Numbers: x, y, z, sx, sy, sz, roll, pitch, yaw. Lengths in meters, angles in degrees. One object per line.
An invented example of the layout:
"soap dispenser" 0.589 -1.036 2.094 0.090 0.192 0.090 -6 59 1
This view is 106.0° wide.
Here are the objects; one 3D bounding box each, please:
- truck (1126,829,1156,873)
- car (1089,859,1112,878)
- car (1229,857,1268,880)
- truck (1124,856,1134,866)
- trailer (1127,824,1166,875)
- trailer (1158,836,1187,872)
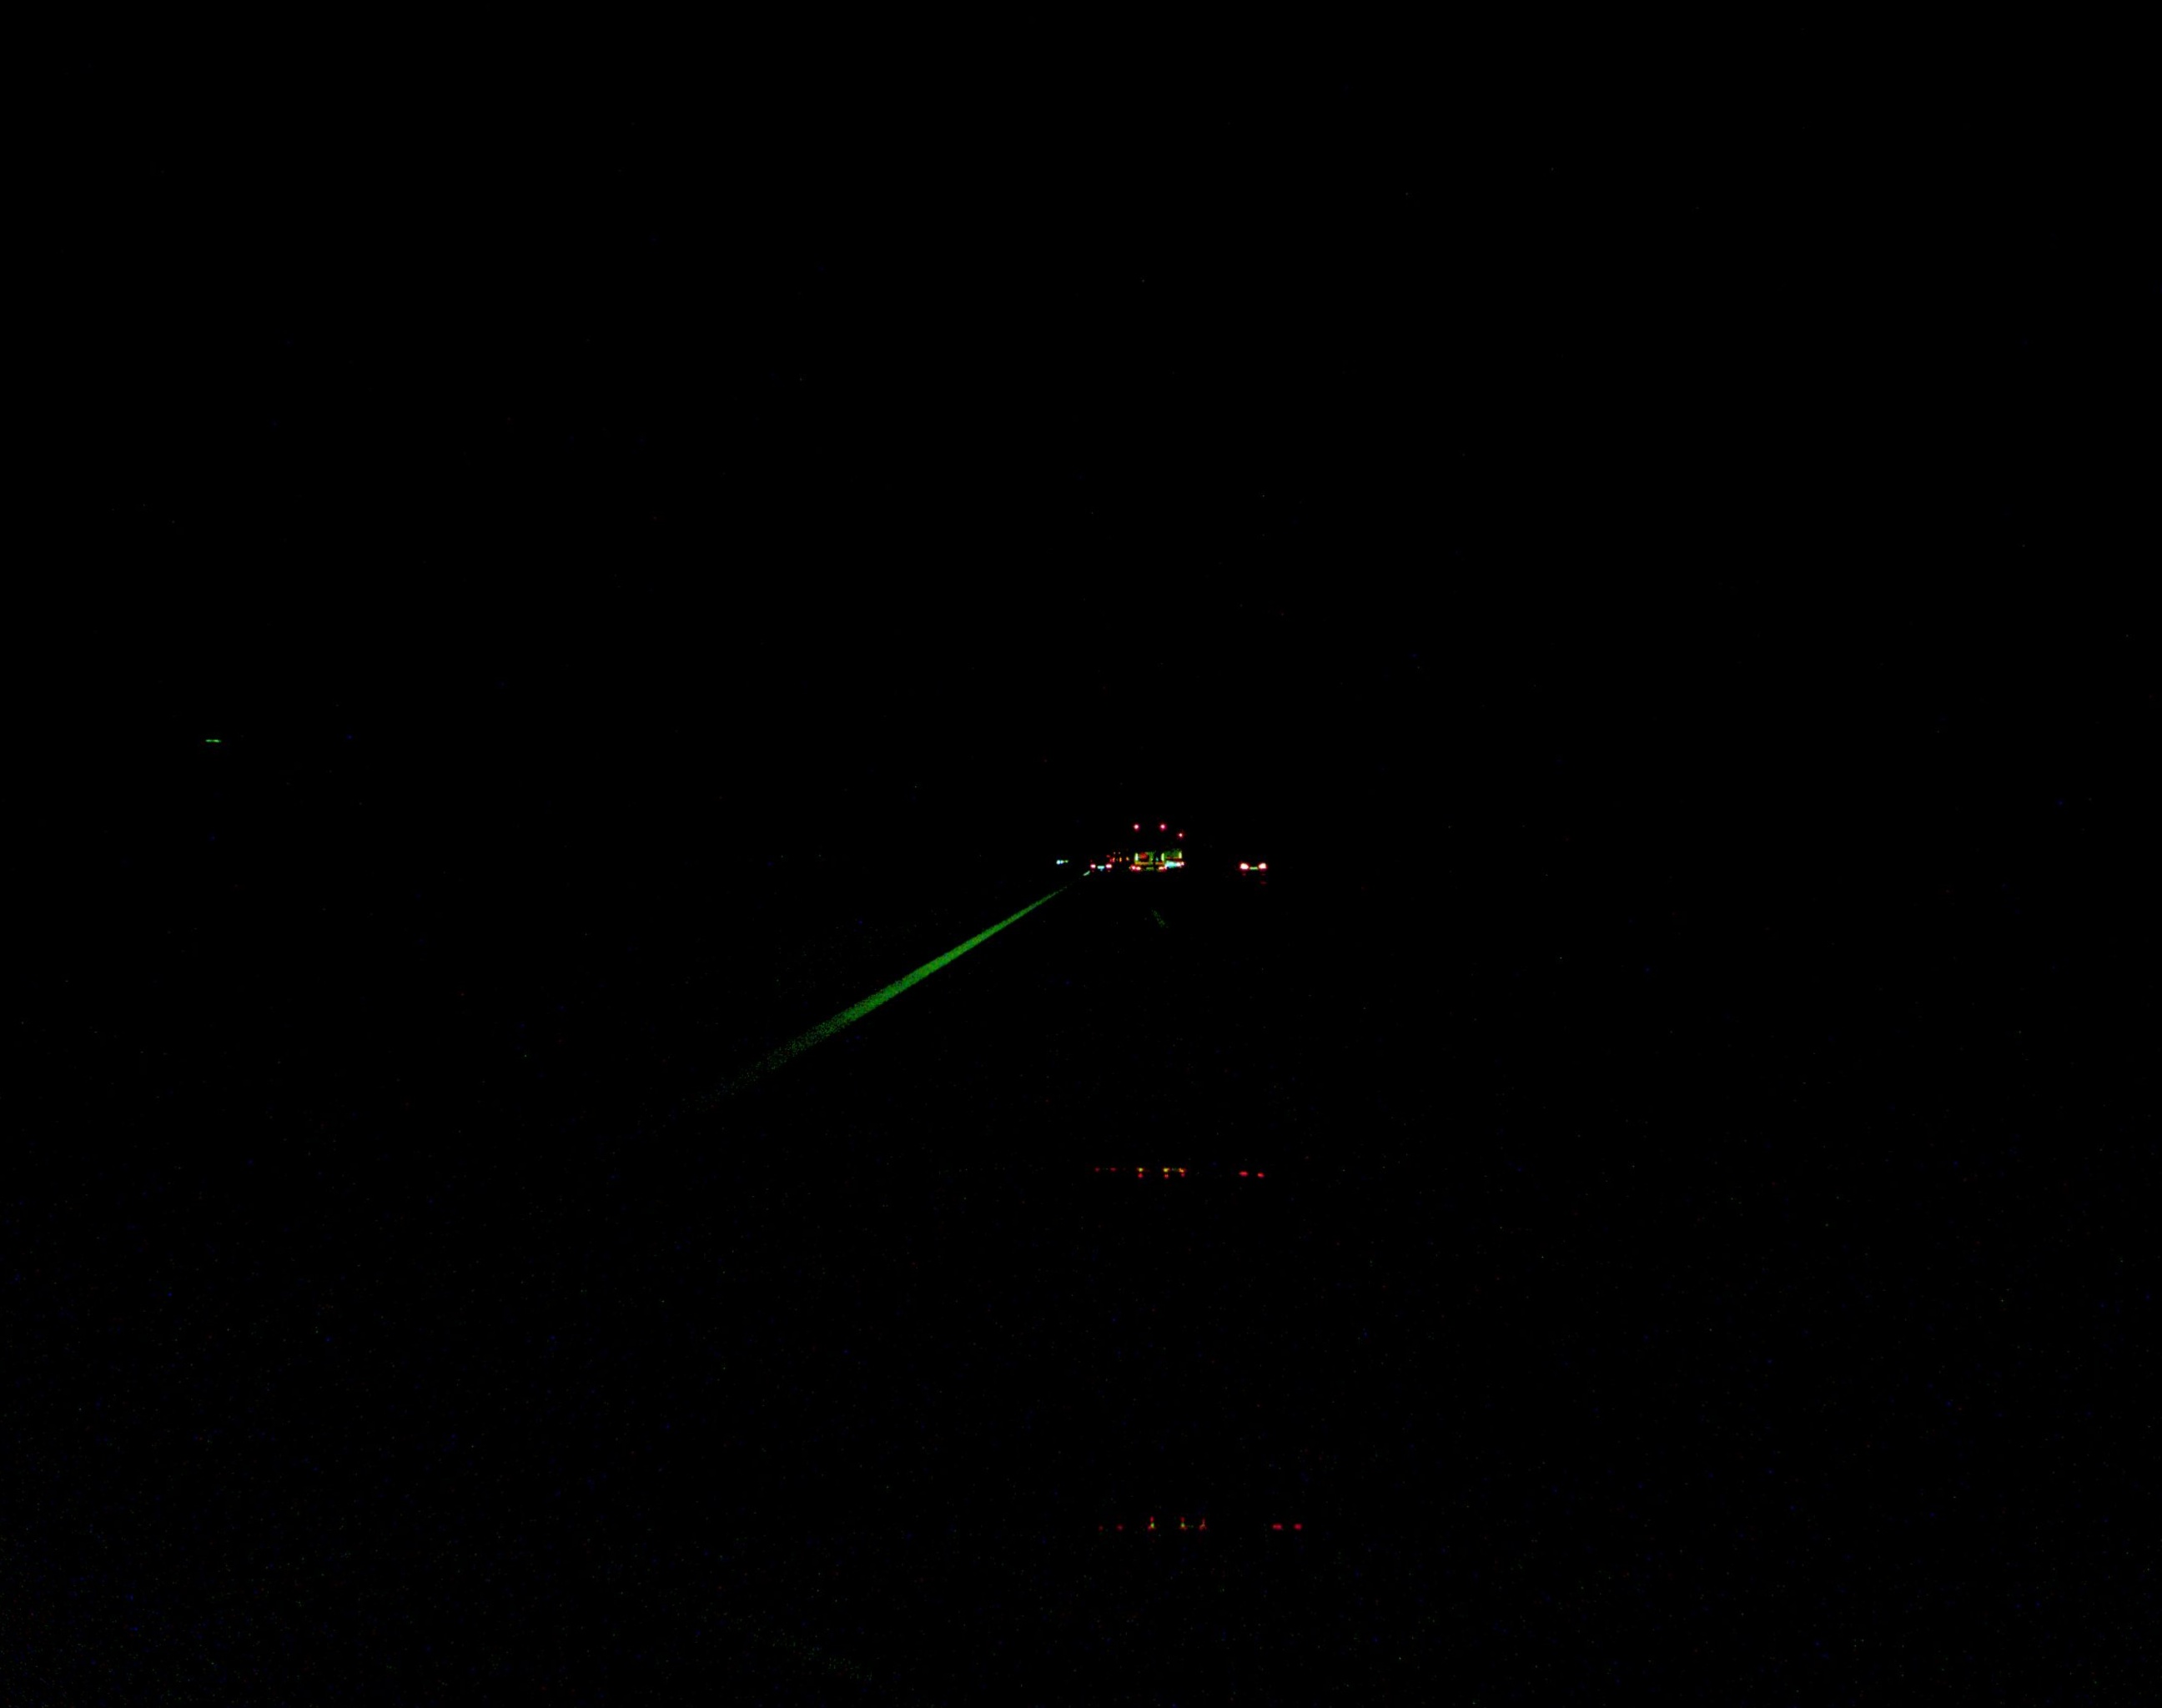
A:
"truck" 5.841 -0.263 80.236 2.652 4.206 6.723 0 -1 1
"car" 1.520 1.112 64.756 1.815 1.466 4.247 0 -1 0
"car" 10.938 0.930 53.453 1.814 1.466 4.249 0 -1 1
"truck" 12.630 1.824 214.586 2.071 2.690 7.304 0 1 -2
"trailer" 5.741 -0.321 73.435 2.732 4.206 13.511 0 -1 1
"trailer" 11.052 0.047 98.866 2.582 4.072 10.009 0 -1 1
